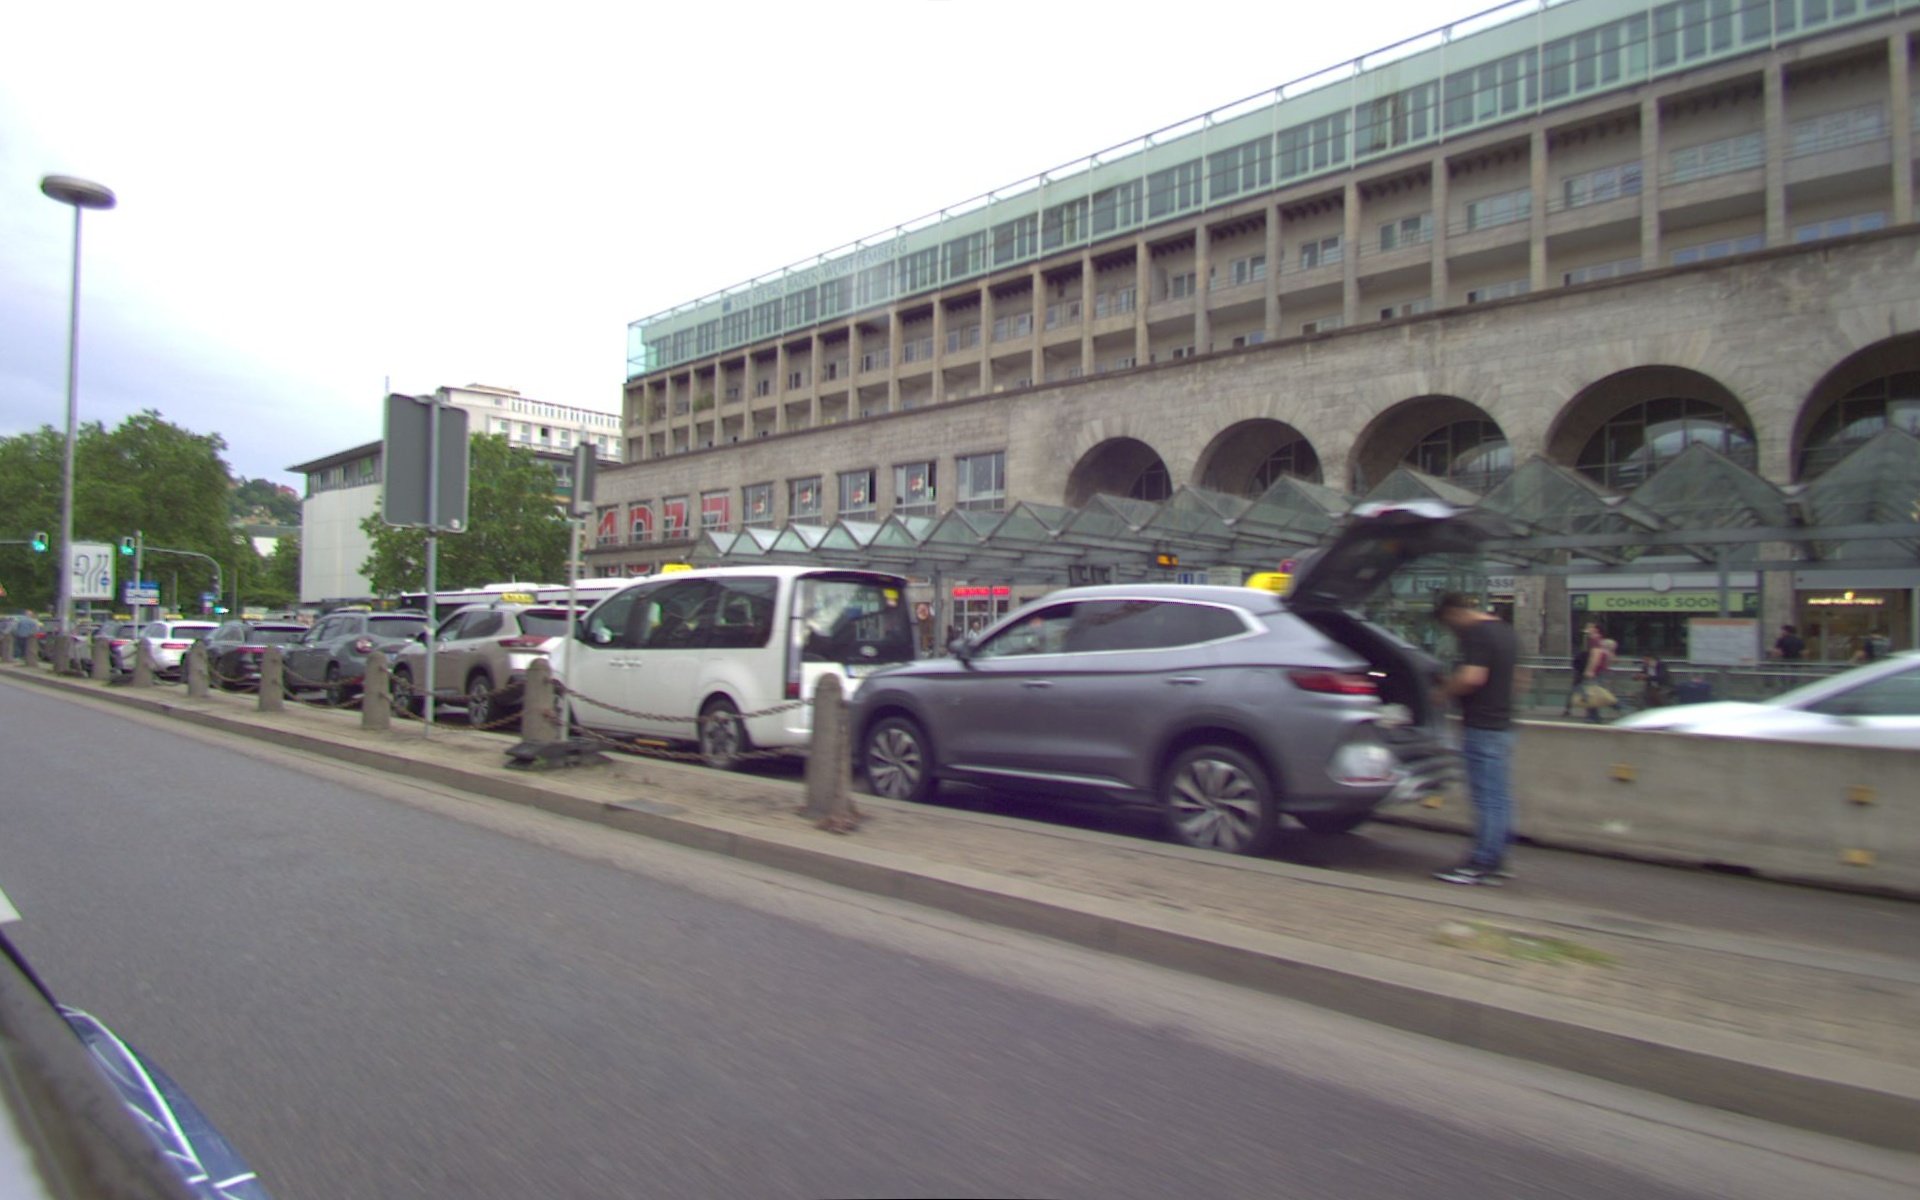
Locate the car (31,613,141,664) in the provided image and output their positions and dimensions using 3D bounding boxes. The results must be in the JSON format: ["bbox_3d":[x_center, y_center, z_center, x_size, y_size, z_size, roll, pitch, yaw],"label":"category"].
[{"bbox_3d":[-29.578,1.281,34.189,5.256,1.589,1.910,-1,-3,40],"label":"car"}]

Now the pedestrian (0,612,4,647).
[{"bbox_3d":[-48.749,1.462,50.832,0.604,1.789,0.777,0,-4,28],"label":"pedestrian"}]

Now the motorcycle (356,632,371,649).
[{"bbox_3d":[-38.268,2.576,64.912,0.471,1.054,1.625,0,-1,-44],"label":"motorcycle"}]

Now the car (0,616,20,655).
[{"bbox_3d":[-43.888,1.547,45.359,4.678,1.703,1.910,-1,-3,40],"label":"car"}]

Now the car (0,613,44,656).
[{"bbox_3d":[-39.355,1.384,41.507,4.678,1.703,1.910,-1,-3,40],"label":"car"}]

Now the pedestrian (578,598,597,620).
[{"bbox_3d":[-19.034,0.447,51.690,0.693,1.117,0.624,-1,0,27],"label":"pedestrian"}]

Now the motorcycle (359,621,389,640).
[{"bbox_3d":[-35.167,1.831,60.748,0.600,1.065,1.429,-2,-1,29],"label":"motorcycle"}]

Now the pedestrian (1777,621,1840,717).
[{"bbox_3d":[19.461,1.562,23.222,0.759,2.142,0.980,2,-3,-41],"label":"pedestrian"}]

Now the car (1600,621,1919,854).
[{"bbox_3d":[7.575,0.977,7.243,4.832,1.576,1.942,-2,-5,41],"label":"car"}]

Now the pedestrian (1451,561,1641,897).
[{"bbox_3d":[3.226,0.653,5.574,0.763,1.665,0.752,-1,-3,41],"label":"pedestrian"}]

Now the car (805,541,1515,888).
[{"bbox_3d":[1.166,0.636,7.424,4.780,1.735,1.972,-1,-2,42],"label":"car"}]

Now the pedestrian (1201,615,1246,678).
[{"bbox_3d":[7.173,1.252,27.559,0.894,1.668,0.748,-2,-1,42],"label":"pedestrian"}]

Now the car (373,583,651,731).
[{"bbox_3d":[-6.621,0.766,14.730,4.580,1.820,1.909,-1,-3,41],"label":"car"}]

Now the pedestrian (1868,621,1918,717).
[{"bbox_3d":[20.559,1.507,22.314,0.771,2.057,0.794,-1,-3,43],"label":"pedestrian"}]

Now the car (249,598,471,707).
[{"bbox_3d":[-10.947,0.896,18.313,4.881,1.712,1.910,-1,-3,40],"label":"car"}]

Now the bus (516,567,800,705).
[{"bbox_3d":[-9.316,1.025,30.152,10.567,3.486,2.848,-1,-2,41],"label":"bus"}]

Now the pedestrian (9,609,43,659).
[{"bbox_3d":[-31.088,1.125,33.671,0.995,1.619,0.715,-2,-1,40],"label":"pedestrian"}]

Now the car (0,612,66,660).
[{"bbox_3d":[-35.461,1.337,38.114,4.678,1.703,1.910,-1,-3,40],"label":"car"}]

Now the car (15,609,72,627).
[{"bbox_3d":[-105.701,2.064,116.739,2.035,2.029,4.767,-2,-2,42],"label":"car"}]

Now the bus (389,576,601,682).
[{"bbox_3d":[-17.234,1.050,36.957,10.567,3.402,2.847,-1,-3,41],"label":"bus"}]

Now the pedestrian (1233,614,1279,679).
[{"bbox_3d":[7.904,1.232,27.014,0.894,1.668,0.748,-2,-1,42],"label":"pedestrian"}]

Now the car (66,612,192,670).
[{"bbox_3d":[-24.652,1.178,29.958,5.007,1.589,1.910,-1,-3,39],"label":"car"}]

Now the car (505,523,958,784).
[{"bbox_3d":[-2.743,0.517,11.109,5.542,2.195,1.972,-1,-2,41],"label":"car"}]

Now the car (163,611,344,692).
[{"bbox_3d":[-15.574,1.079,22.214,5.047,1.589,1.910,-1,-3,39],"label":"car"}]

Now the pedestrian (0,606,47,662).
[{"bbox_3d":[-30.190,1.088,32.598,0.616,1.782,1.040,-1,-2,39],"label":"pedestrian"}]

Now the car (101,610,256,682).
[{"bbox_3d":[-20.048,1.128,25.881,5.187,1.672,1.956,-1,-3,39],"label":"car"}]
